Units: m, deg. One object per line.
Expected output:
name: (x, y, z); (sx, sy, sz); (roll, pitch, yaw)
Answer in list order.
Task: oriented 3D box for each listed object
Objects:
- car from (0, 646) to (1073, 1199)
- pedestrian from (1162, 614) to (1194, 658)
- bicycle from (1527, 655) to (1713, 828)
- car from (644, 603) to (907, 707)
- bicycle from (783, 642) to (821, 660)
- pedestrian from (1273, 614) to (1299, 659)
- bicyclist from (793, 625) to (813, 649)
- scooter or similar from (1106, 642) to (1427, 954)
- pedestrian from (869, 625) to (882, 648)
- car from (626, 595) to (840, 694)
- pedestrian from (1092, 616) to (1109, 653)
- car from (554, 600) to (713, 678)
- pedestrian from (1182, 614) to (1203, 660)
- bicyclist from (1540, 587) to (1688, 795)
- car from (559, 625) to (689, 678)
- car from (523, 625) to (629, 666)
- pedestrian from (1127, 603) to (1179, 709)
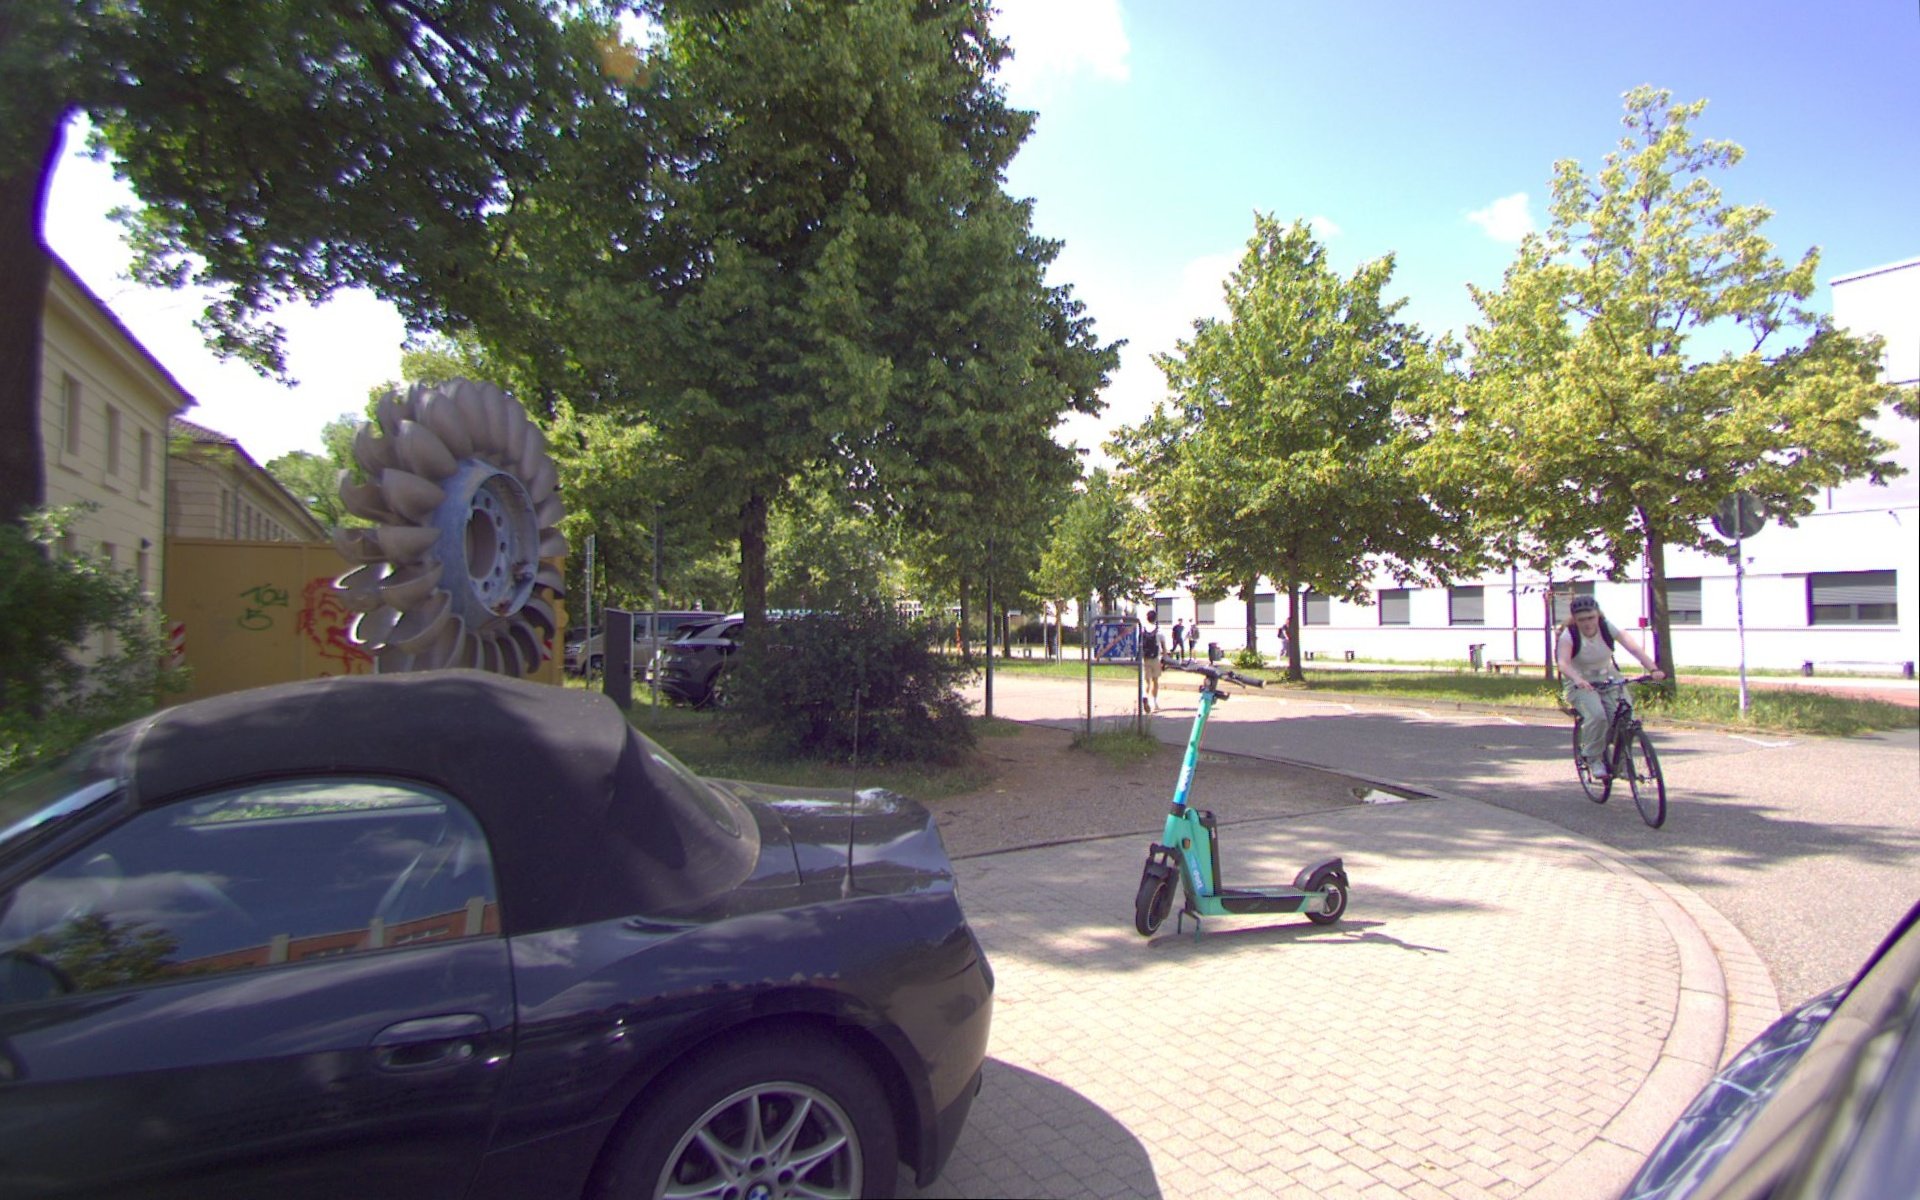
car: (-1.881, 0.787, 2.101); (3.918, 1.297, 1.715); (0, -2, -28)
pedestrian: (9.100, 1.512, 42.238); (0.778, 1.799, 1.096); (0, -2, -24)
bicycle: (5.120, 1.033, 8.012); (0.667, 1.086, 2.123); (-3, -2, 19)
car: (-3.279, 0.955, 18.236); (4.275, 1.673, 1.896); (1, -3, -30)
bicycle: (-8.532, 2.728, 54.705); (1.906, 0.929, 0.800); (0, -2, -24)
pedestrian: (12.648, 1.418, 39.265); (0.616, 1.710, 0.726); (1, -2, -29)
bicyclist: (-8.498, 1.984, 54.749); (0.883, 1.276, 0.800); (1, -2, -24)
scooter or similar: (1.433, 0.850, 4.752); (1.353, 1.270, 0.555); (0, -2, -20)
pedestrian: (-6.446, 2.822, 77.390); (0.781, 1.745, 0.635); (1, -2, -30)
car: (-4.630, 0.866, 20.729); (3.920, 1.862, 1.825); (1, -2, -30)
pedestrian: (6.441, 1.580, 46.435); (0.716, 1.678, 0.713); (-1, -2, 12)
car: (-9.192, 1.066, 28.482); (3.970, 2.040, 2.002); (0, -2, -28)
pedestrian: (9.137, 1.456, 39.760); (0.702, 1.793, 0.824); (-1, -2, 21)
bicyclist: (5.050, 0.663, 7.886); (0.667, 1.497, 1.056); (-2, -1, 19)
car: (-10.945, 1.648, 33.025); (3.777, 1.615, 1.788); (0, -2, -28)
car: (-15.342, 1.771, 40.451); (3.777, 1.553, 1.788); (0, -2, -28)
pedestrian: (3.279, 0.940, 17.254); (0.628, 1.767, 0.583); (1, -2, -26)
